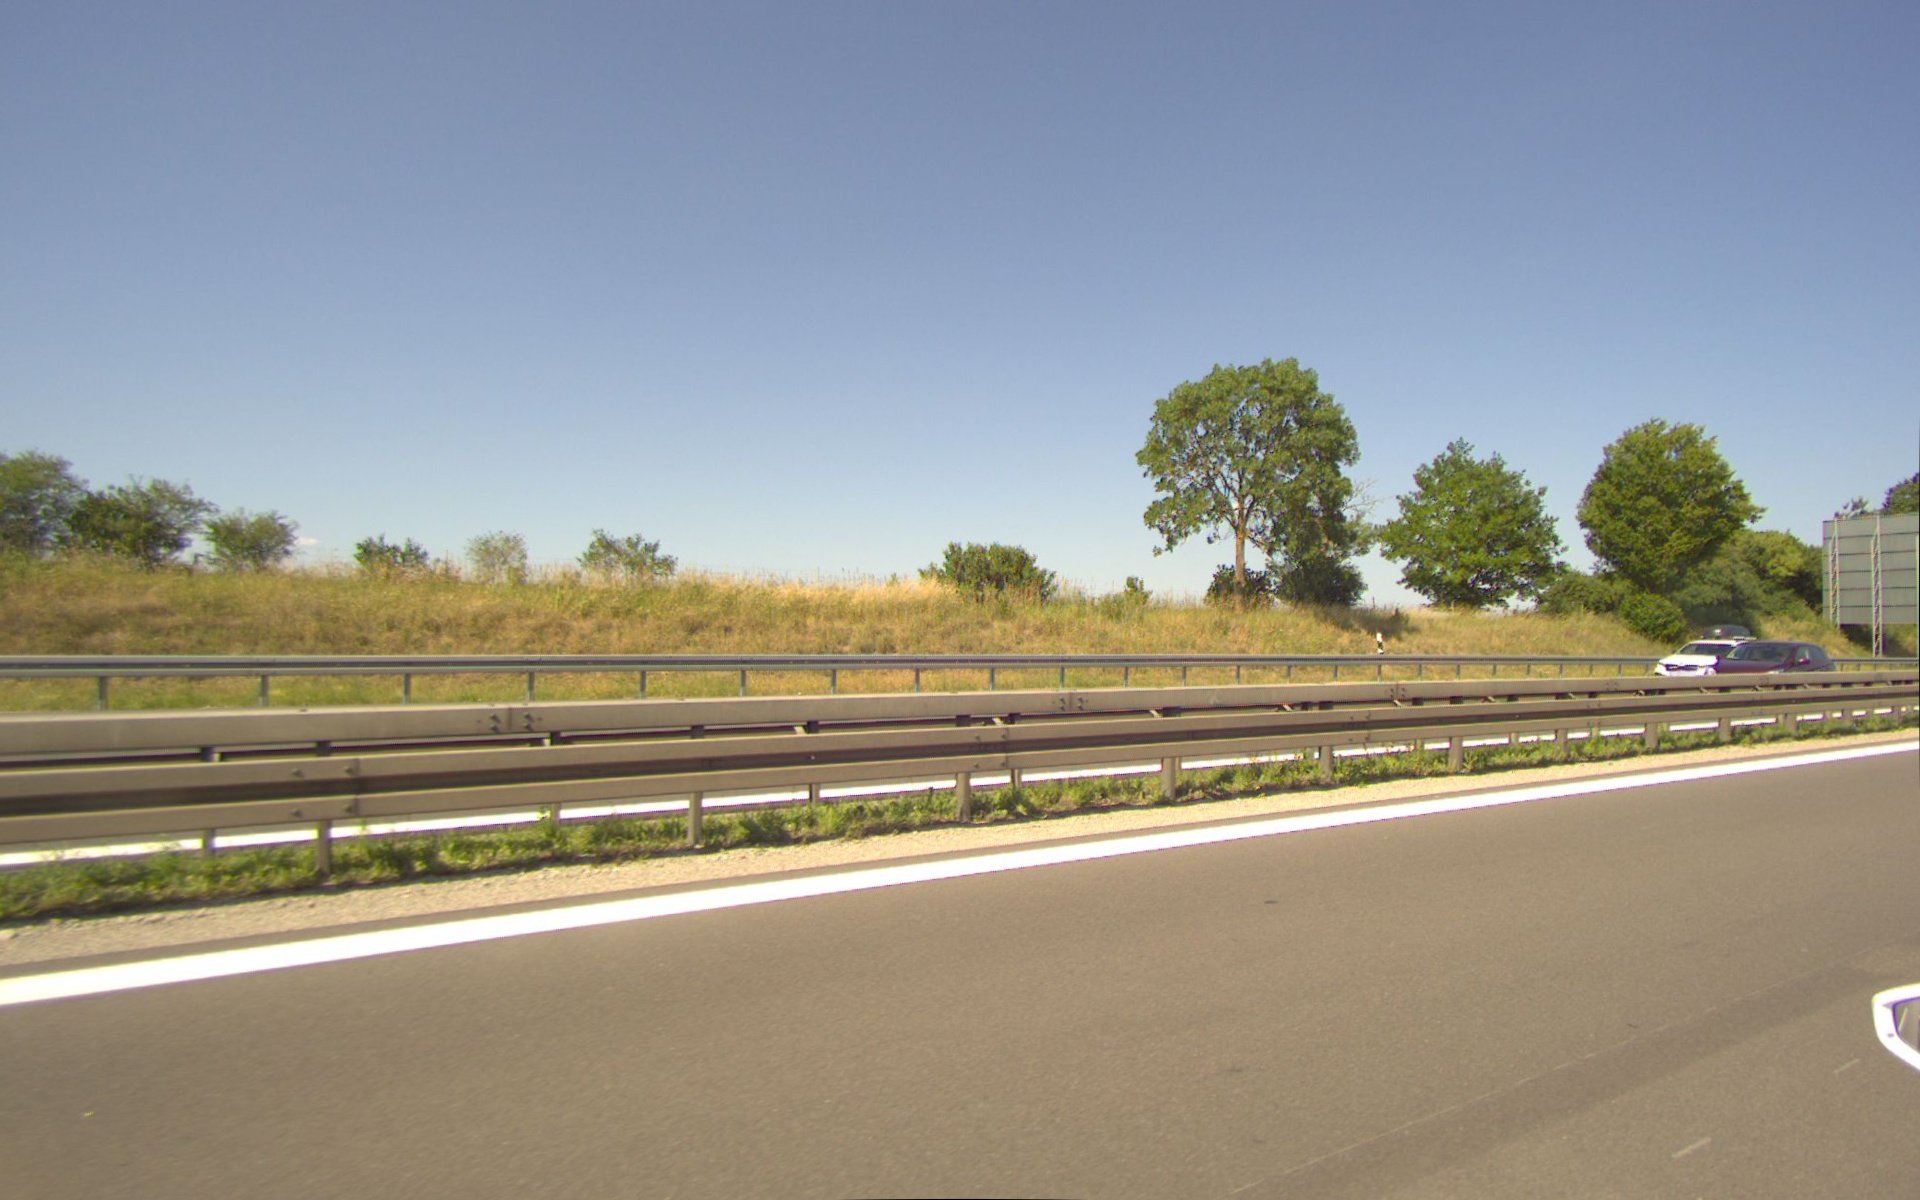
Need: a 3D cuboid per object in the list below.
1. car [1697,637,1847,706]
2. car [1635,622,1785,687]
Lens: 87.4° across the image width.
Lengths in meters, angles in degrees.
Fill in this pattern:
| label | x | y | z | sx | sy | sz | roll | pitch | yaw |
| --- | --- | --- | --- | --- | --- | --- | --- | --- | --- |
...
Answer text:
| label | x | y | z | sx | sy | sz | roll | pitch | yaw |
| --- | --- | --- | --- | --- | --- | --- | --- | --- | --- |
| car | 20.049 | 1.719 | 24.772 | 3.953 | 1.551 | 1.608 | 2 | -1 | -30 |
| car | 23.349 | 1.658 | 31.220 | 5.123 | 1.870 | 1.936 | 2 | -1 | -30 |
